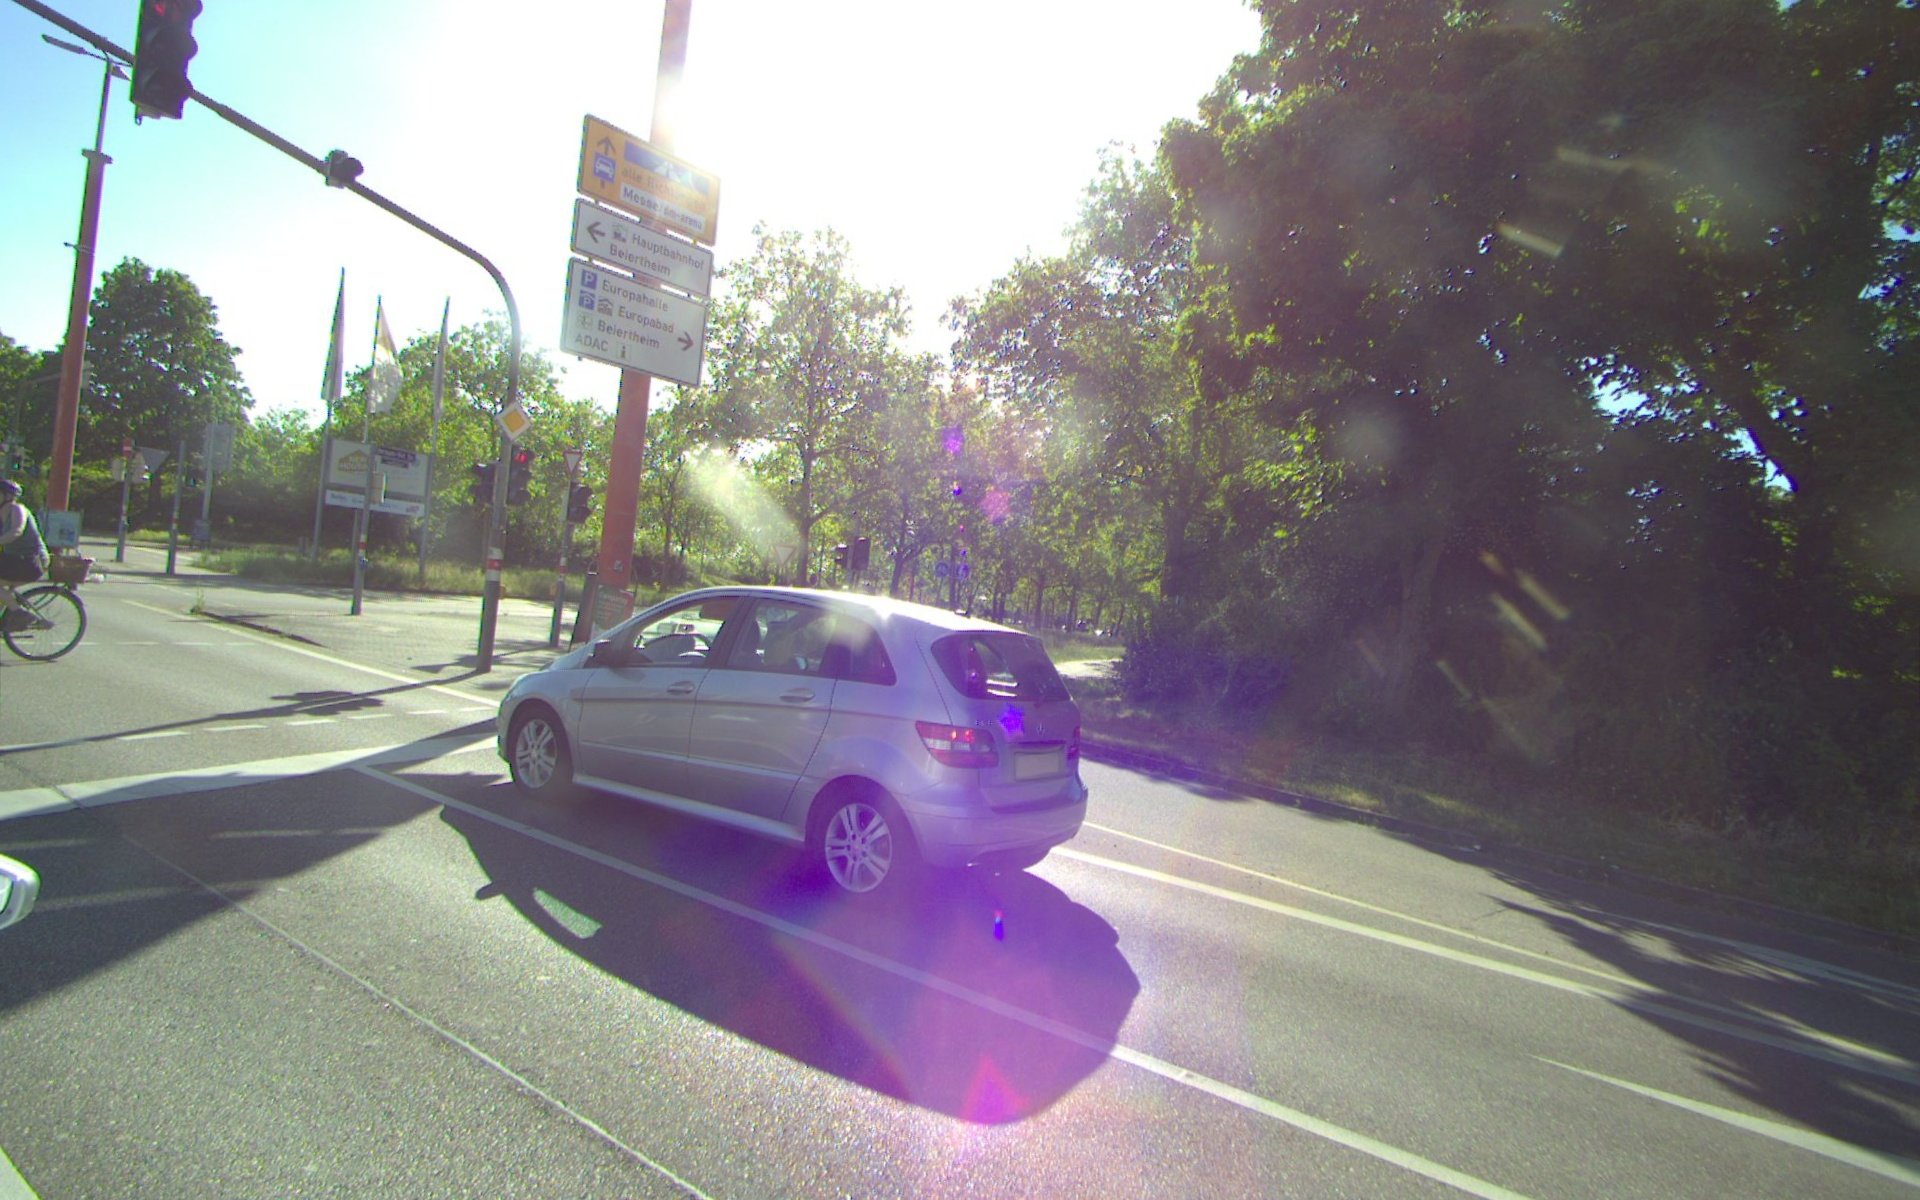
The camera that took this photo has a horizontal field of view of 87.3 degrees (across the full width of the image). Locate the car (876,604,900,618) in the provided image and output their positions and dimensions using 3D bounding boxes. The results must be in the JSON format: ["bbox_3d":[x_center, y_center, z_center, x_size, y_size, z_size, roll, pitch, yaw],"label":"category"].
[{"bbox_3d":[-9.063,1.386,127.108,1.652,1.485,3.997,7,-1,14],"label":"car"}]

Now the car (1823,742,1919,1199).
[{"bbox_3d":[3.350,1.163,0.324,4.371,1.415,1.871,7,0,33],"label":"car"}]

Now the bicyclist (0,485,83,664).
[{"bbox_3d":[-8.868,-0.249,9.370,0.660,1.604,0.662,7,0,5],"label":"bicyclist"}]

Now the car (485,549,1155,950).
[{"bbox_3d":[-1.013,0.707,6.474,3.963,1.597,1.741,7,0,33],"label":"car"}]

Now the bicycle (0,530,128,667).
[{"bbox_3d":[-8.903,-0.031,9.242,0.679,1.209,1.949,7,0,4],"label":"bicycle"}]
